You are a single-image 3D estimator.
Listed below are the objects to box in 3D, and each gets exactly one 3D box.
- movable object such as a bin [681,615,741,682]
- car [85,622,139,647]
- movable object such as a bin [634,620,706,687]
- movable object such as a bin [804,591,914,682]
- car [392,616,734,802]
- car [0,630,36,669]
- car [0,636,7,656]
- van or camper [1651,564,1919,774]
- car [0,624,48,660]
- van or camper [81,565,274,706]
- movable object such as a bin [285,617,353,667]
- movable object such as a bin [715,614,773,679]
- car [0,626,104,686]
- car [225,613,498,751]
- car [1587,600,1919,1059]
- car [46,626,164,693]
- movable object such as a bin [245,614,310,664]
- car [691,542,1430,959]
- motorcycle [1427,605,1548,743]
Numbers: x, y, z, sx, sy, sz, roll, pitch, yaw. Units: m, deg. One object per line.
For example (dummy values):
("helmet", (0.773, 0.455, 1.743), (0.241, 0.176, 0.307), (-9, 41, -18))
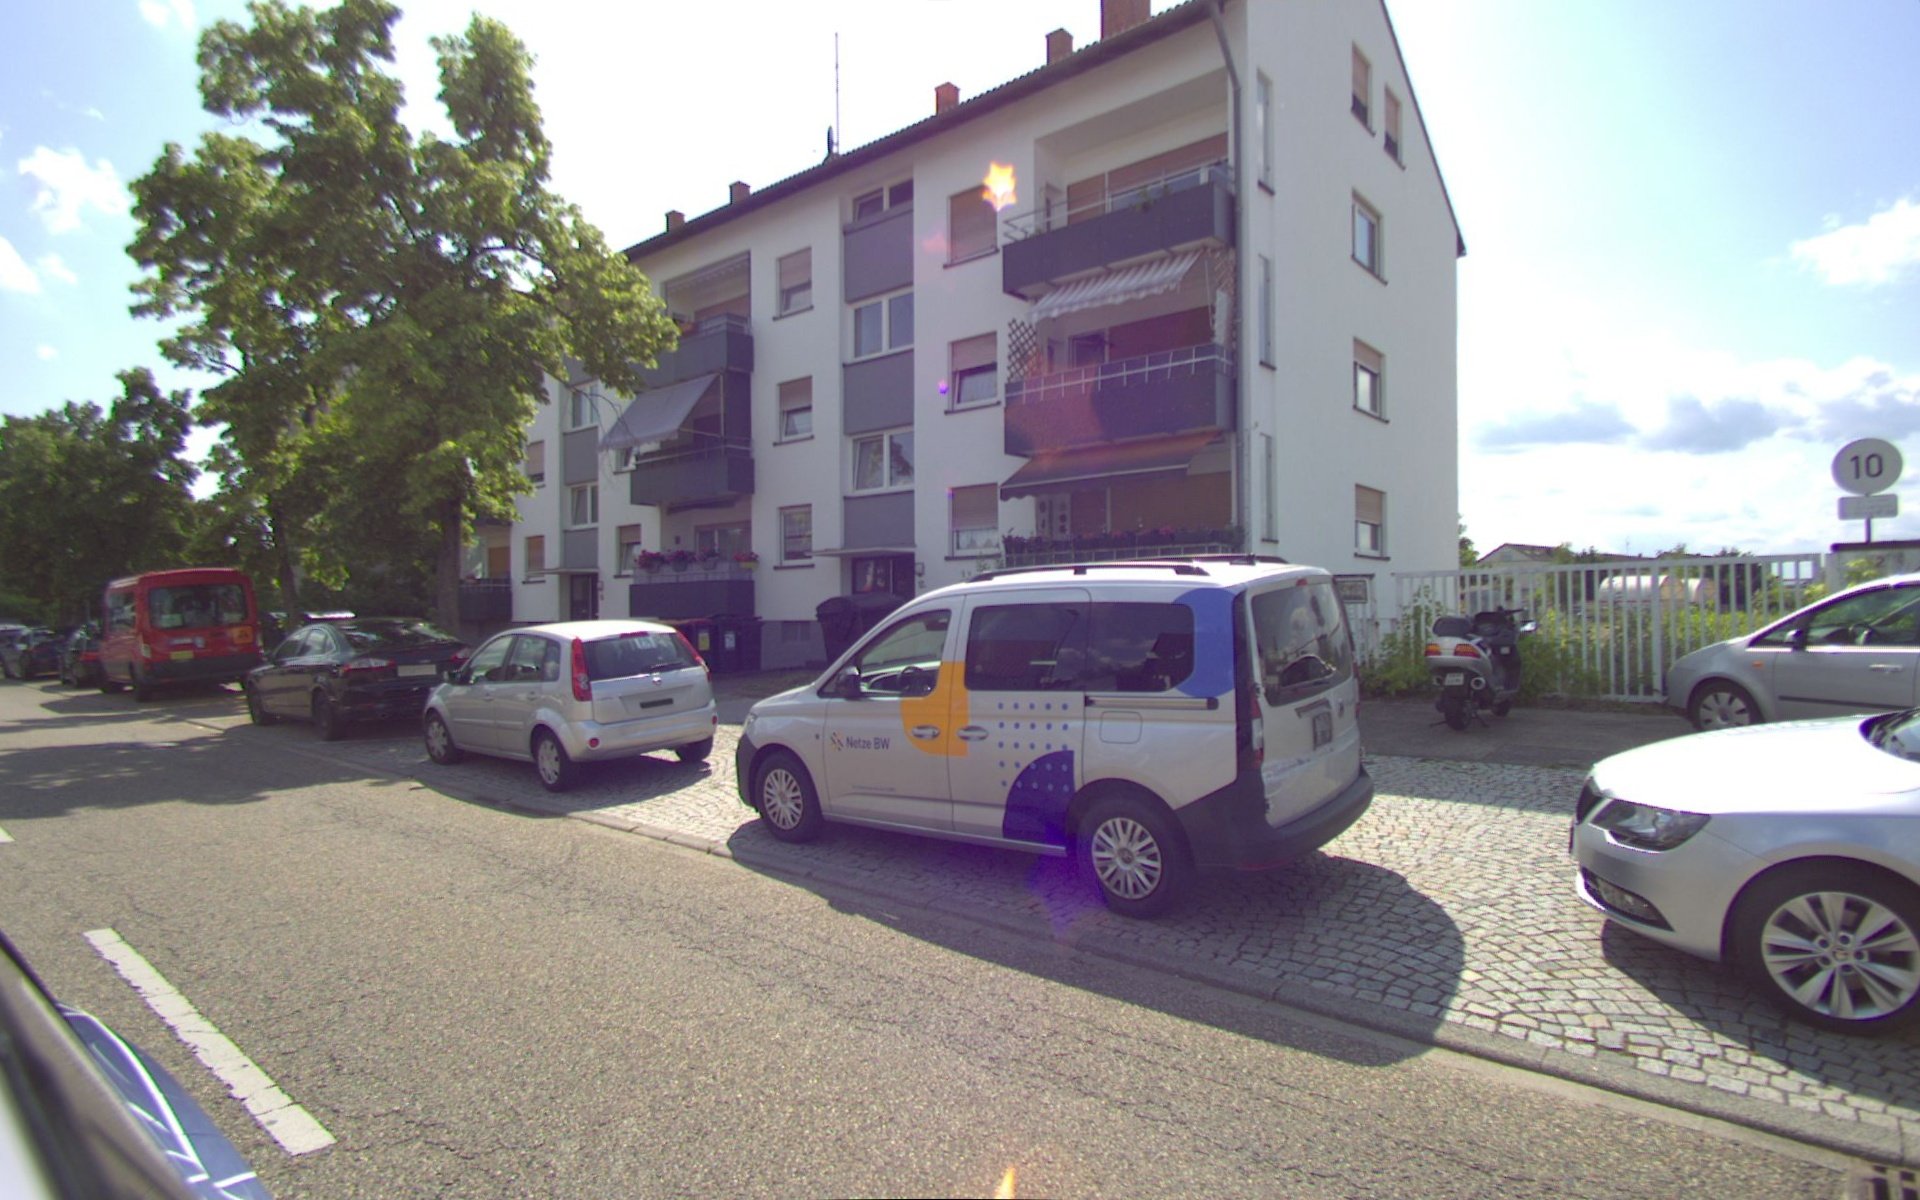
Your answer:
("movable object such as a bin", (-4.750, 0.929, 19.281), (0.805, 1.223, 0.742), (-4, -2, 40))
("car", (-59.745, 2.415, 71.362), (1.792, 1.737, 3.694), (0, -2, -21))
("movable object such as a bin", (-5.334, 0.982, 18.640), (0.824, 1.158, 0.944), (-4, -2, 40))
("movable object such as a bin", (-1.745, 0.626, 17.555), (1.264, 1.394, 1.258), (-8, -3, 40))
("car", (-4.183, 0.944, 10.373), (3.924, 1.480, 1.606), (-1, 2, 41))
("car", (-38.316, 1.982, 40.469), (4.002, 1.429, 1.735), (-2, 3, 45))
("car", (-71.592, 3.366, 74.060), (1.756, 1.497, 4.294), (4, -4, -31))
("van or camper", (7.923, 0.489, 7.865), (1.751, 1.554, 4.011), (-2, 0, -15))
("car", (-44.929, 2.008, 48.417), (1.733, 1.499, 3.687), (-5, 2, -41))
("van or camper", (-16.860, 0.721, 21.646), (6.222, 2.568, 2.125), (-2, 1, 42))
("movable object such as a bin", (-19.043, 1.244, 30.059), (1.288, 1.396, 1.285), (-2, -1, 34))
("movable object such as a bin", (-4.241, 0.909, 19.874), (0.805, 1.223, 0.742), (-4, -2, 40))
("car", (-26.459, 1.582, 29.267), (4.626, 1.488, 1.714), (-2, 1, 39))
("car", (-8.410, 1.009, 14.036), (4.592, 1.504, 1.792), (-1, 2, 40))
("car", (4.885, 0.731, 3.245), (4.702, 1.472, 1.732), (-3, 1, 38))
("car", (-21.720, 1.439, 25.655), (4.463, 1.447, 1.670), (-1, 1, 42))
("movable object such as a bin", (-21.231, 1.206, 31.482), (1.302, 1.497, 1.285), (-2, -1, 34))
("car", (0.386, 0.666, 6.555), (4.487, 1.819, 1.792), (-2, 2, 40))
("motorcycle", (5.601, 0.718, 10.676), (0.677, 1.258, 2.072), (-2, 0, 40))
